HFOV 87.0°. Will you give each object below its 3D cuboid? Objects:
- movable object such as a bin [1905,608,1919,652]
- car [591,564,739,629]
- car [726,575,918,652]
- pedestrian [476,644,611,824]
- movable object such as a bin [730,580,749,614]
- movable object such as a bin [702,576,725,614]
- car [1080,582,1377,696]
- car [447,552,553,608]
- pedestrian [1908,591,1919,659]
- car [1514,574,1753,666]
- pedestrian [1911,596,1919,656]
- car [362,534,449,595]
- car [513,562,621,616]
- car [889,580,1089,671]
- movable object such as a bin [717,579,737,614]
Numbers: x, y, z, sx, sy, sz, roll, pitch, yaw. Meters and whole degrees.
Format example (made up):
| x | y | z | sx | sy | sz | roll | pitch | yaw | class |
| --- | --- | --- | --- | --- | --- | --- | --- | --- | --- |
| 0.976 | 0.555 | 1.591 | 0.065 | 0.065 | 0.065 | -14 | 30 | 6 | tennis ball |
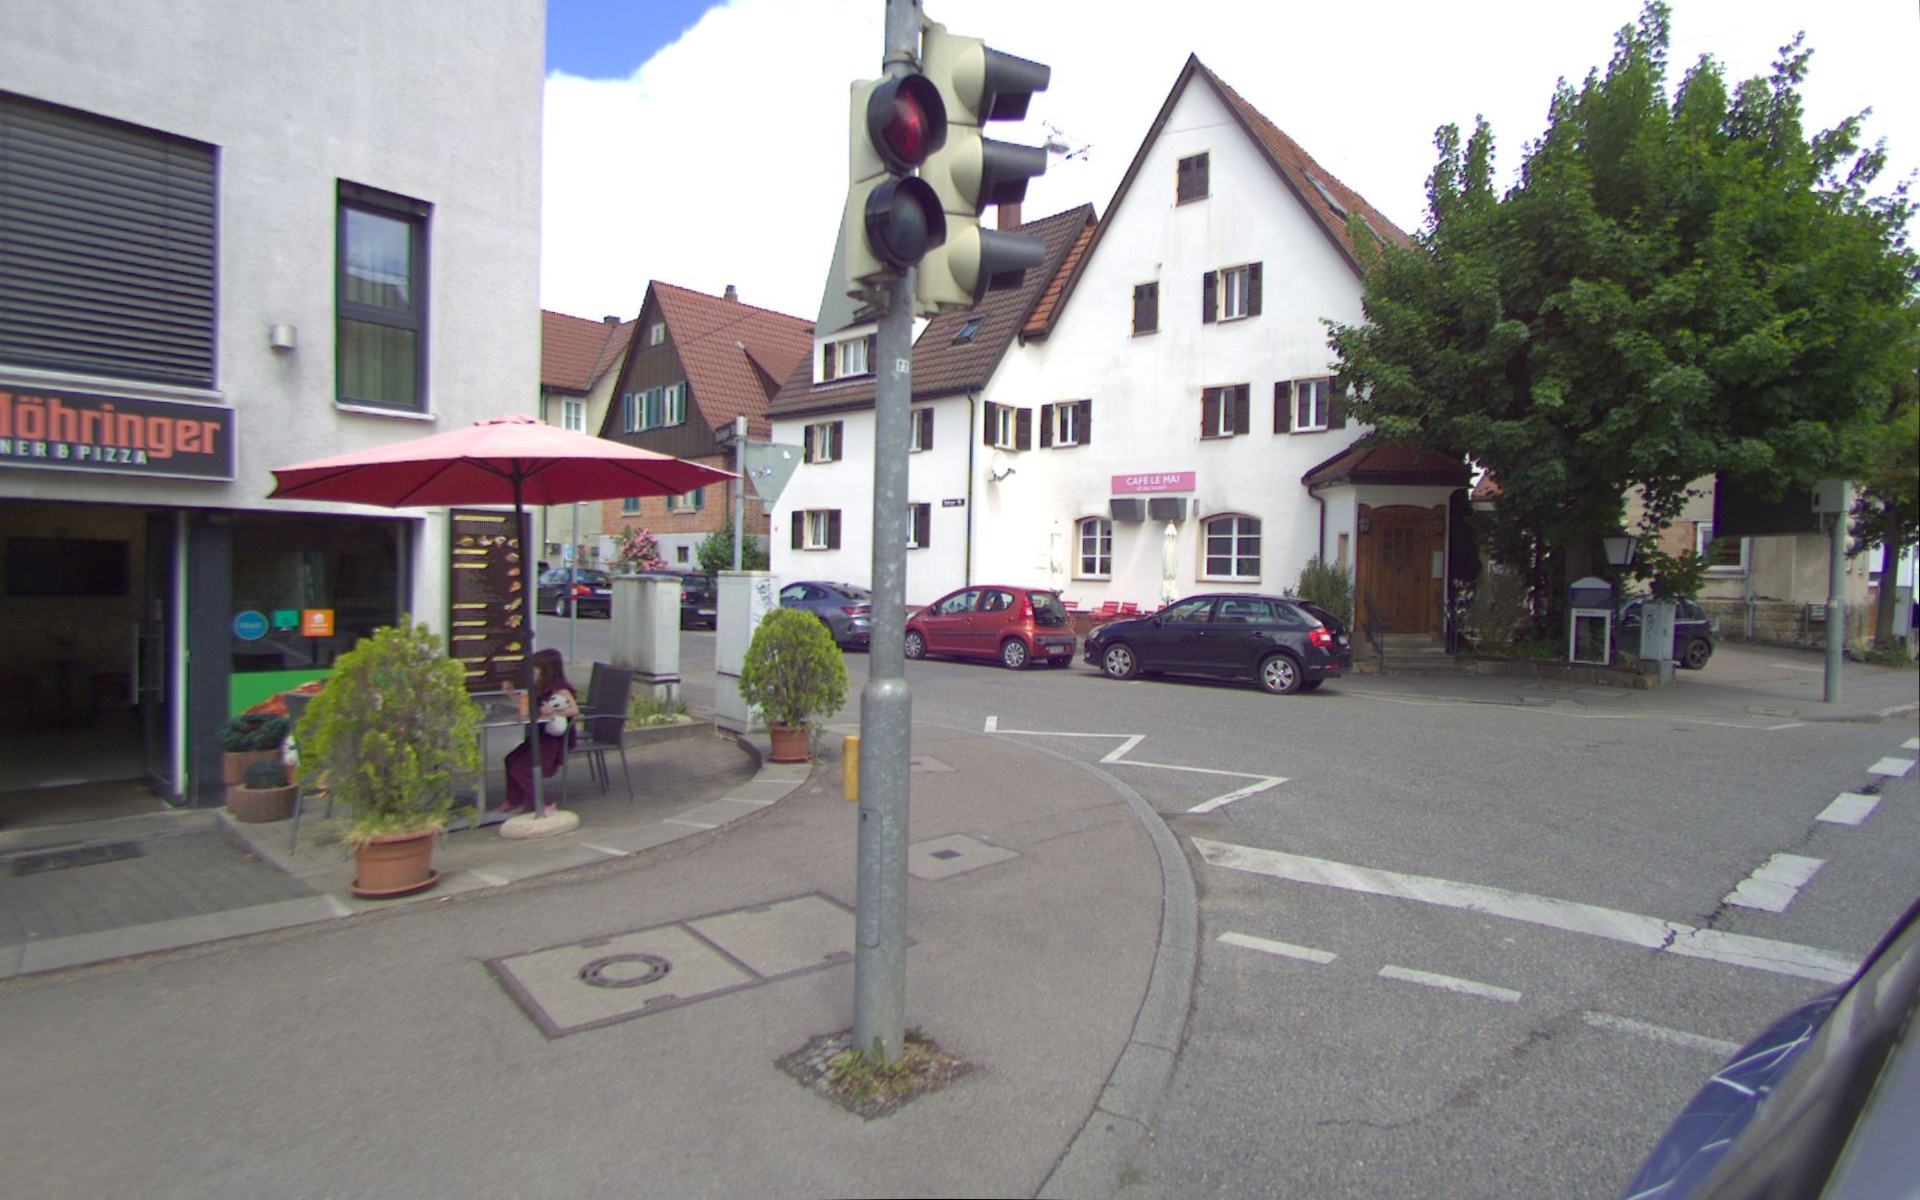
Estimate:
| x | y | z | sx | sy | sz | roll | pitch | yaw | class |
| --- | --- | --- | --- | --- | --- | --- | --- | --- | --- |
| 29.099 | 0.911 | 29.976 | 1.171 | 1.281 | 1.202 | 2 | 0 | 19 | movable object such as a bin |
| -7.632 | -0.141 | 26.016 | 4.109 | 1.526 | 1.761 | 2 | 1 | 42 | car |
| -3.017 | 0.223 | 21.514 | 4.354 | 1.377 | 1.759 | 3 | 2 | 45 | car |
| -2.827 | 0.880 | 6.892 | 0.562 | 1.102 | 0.628 | 1 | 0 | 25 | pedestrian |
| -6.623 | -0.098 | 30.377 | 0.390 | 1.010 | 0.390 | 1 | 0 | 41 | movable object such as a bin |
| -7.227 | -0.140 | 29.634 | 0.390 | 1.098 | 0.520 | 1 | 0 | 41 | movable object such as a bin |
| 4.168 | 0.545 | 15.960 | 4.158 | 1.433 | 1.757 | 3 | 0 | 35 | car |
| -14.833 | -0.654 | 32.561 | 4.109 | 1.703 | 1.602 | 2 | 1 | 42 | car |
| 26.029 | 0.685 | 27.092 | 0.882 | 1.805 | 0.743 | 1 | 0 | -33 | pedestrian |
| 13.727 | 0.399 | 20.700 | 3.993 | 1.535 | 1.762 | 3 | 3 | -15 | car |
| 27.083 | 0.723 | 28.111 | 0.783 | 1.664 | 0.788 | 1 | 0 | -34 | pedestrian |
| -21.699 | -1.374 | 39.532 | 4.113 | 2.252 | 1.866 | 2 | 1 | 45 | car |
| -11.413 | -0.339 | 29.268 | 1.485 | 1.464 | 4.028 | 0 | 1 | -44 | car |
| 0.496 | 0.406 | 18.661 | 3.407 | 1.505 | 1.630 | 1 | 1 | 38 | car |
| -6.911 | -0.106 | 30.006 | 0.390 | 1.028 | 0.409 | 1 | 0 | 41 | movable object such as a bin |
